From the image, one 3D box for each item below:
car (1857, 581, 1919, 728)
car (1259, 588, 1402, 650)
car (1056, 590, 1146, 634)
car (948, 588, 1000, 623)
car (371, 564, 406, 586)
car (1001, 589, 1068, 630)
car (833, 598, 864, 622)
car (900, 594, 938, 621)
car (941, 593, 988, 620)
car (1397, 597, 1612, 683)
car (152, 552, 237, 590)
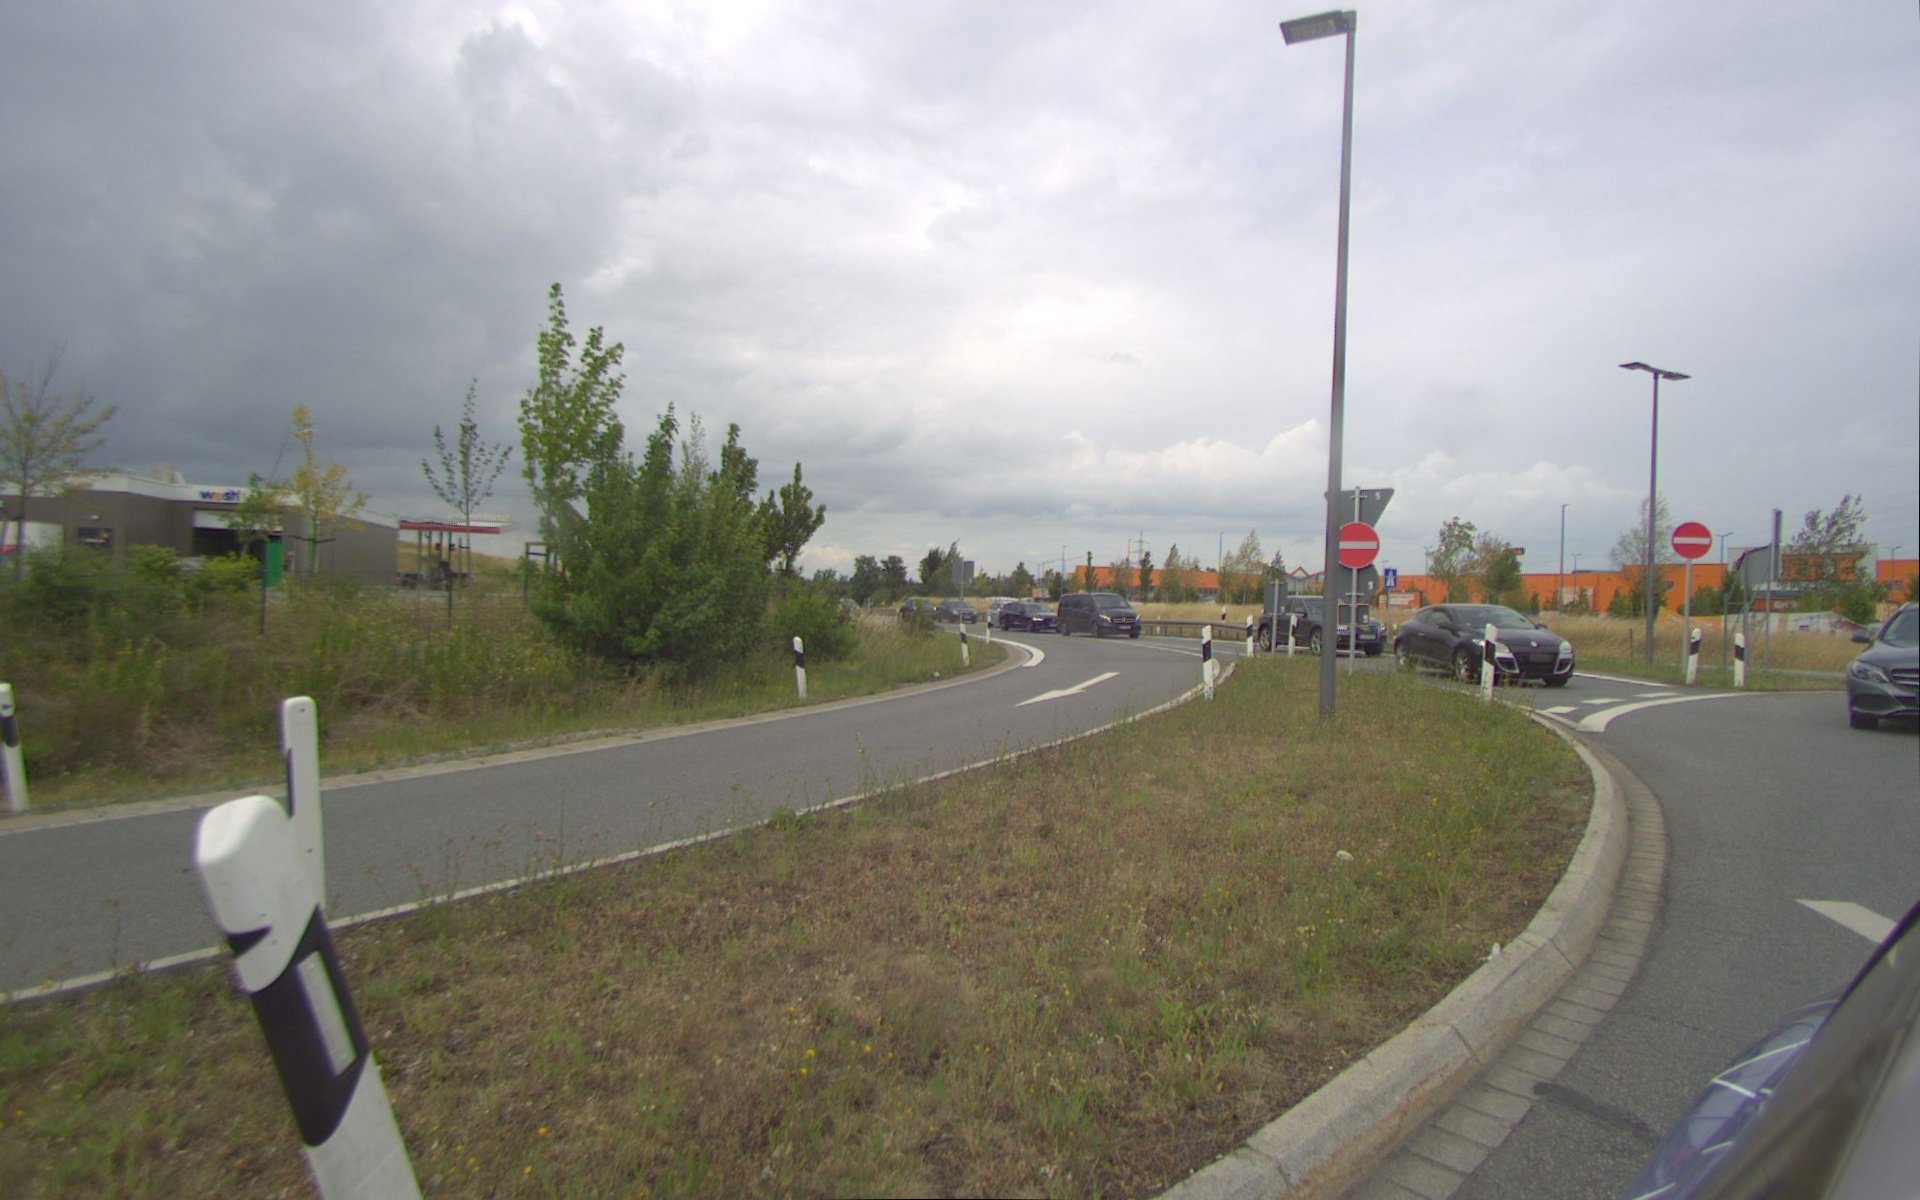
[{"bbox_3d":[11.718,0.590,11.529,4.266,1.516,1.903,1,-1,-44],"label":"car"},{"bbox_3d":[10.302,0.489,28.510,1.845,1.603,4.284,0,0,-11],"label":"car"},{"bbox_3d":[5.750,0.465,41.918,1.686,1.743,4.755,0,0,-19],"label":"car"},{"bbox_3d":[0.763,0.290,57.365,1.768,1.906,4.008,1,0,-17],"label":"car"},{"bbox_3d":[-43.106,-1.858,76.377,1.762,1.558,3.670,0,0,-21],"label":"car"},{"bbox_3d":[3.562,0.422,49.175,1.768,1.906,4.008,1,0,-20],"label":"car"},{"bbox_3d":[-9.171,0.809,82.787,1.726,1.906,4.008,1,0,-18],"label":"car"},{"bbox_3d":[-3.007,0.532,73.596,1.726,1.906,4.008,1,0,-18],"label":"car"},{"bbox_3d":[0.248,0.379,64.783,1.726,1.685,4.008,1,0,-19],"label":"car"},{"bbox_3d":[9.782,0.653,18.601,1.809,1.387,4.142,0,0,2],"label":"car"},{"bbox_3d":[-32.143,-1.179,42.621,1.635,1.449,4.008,1,0,-19],"label":"car"}]
